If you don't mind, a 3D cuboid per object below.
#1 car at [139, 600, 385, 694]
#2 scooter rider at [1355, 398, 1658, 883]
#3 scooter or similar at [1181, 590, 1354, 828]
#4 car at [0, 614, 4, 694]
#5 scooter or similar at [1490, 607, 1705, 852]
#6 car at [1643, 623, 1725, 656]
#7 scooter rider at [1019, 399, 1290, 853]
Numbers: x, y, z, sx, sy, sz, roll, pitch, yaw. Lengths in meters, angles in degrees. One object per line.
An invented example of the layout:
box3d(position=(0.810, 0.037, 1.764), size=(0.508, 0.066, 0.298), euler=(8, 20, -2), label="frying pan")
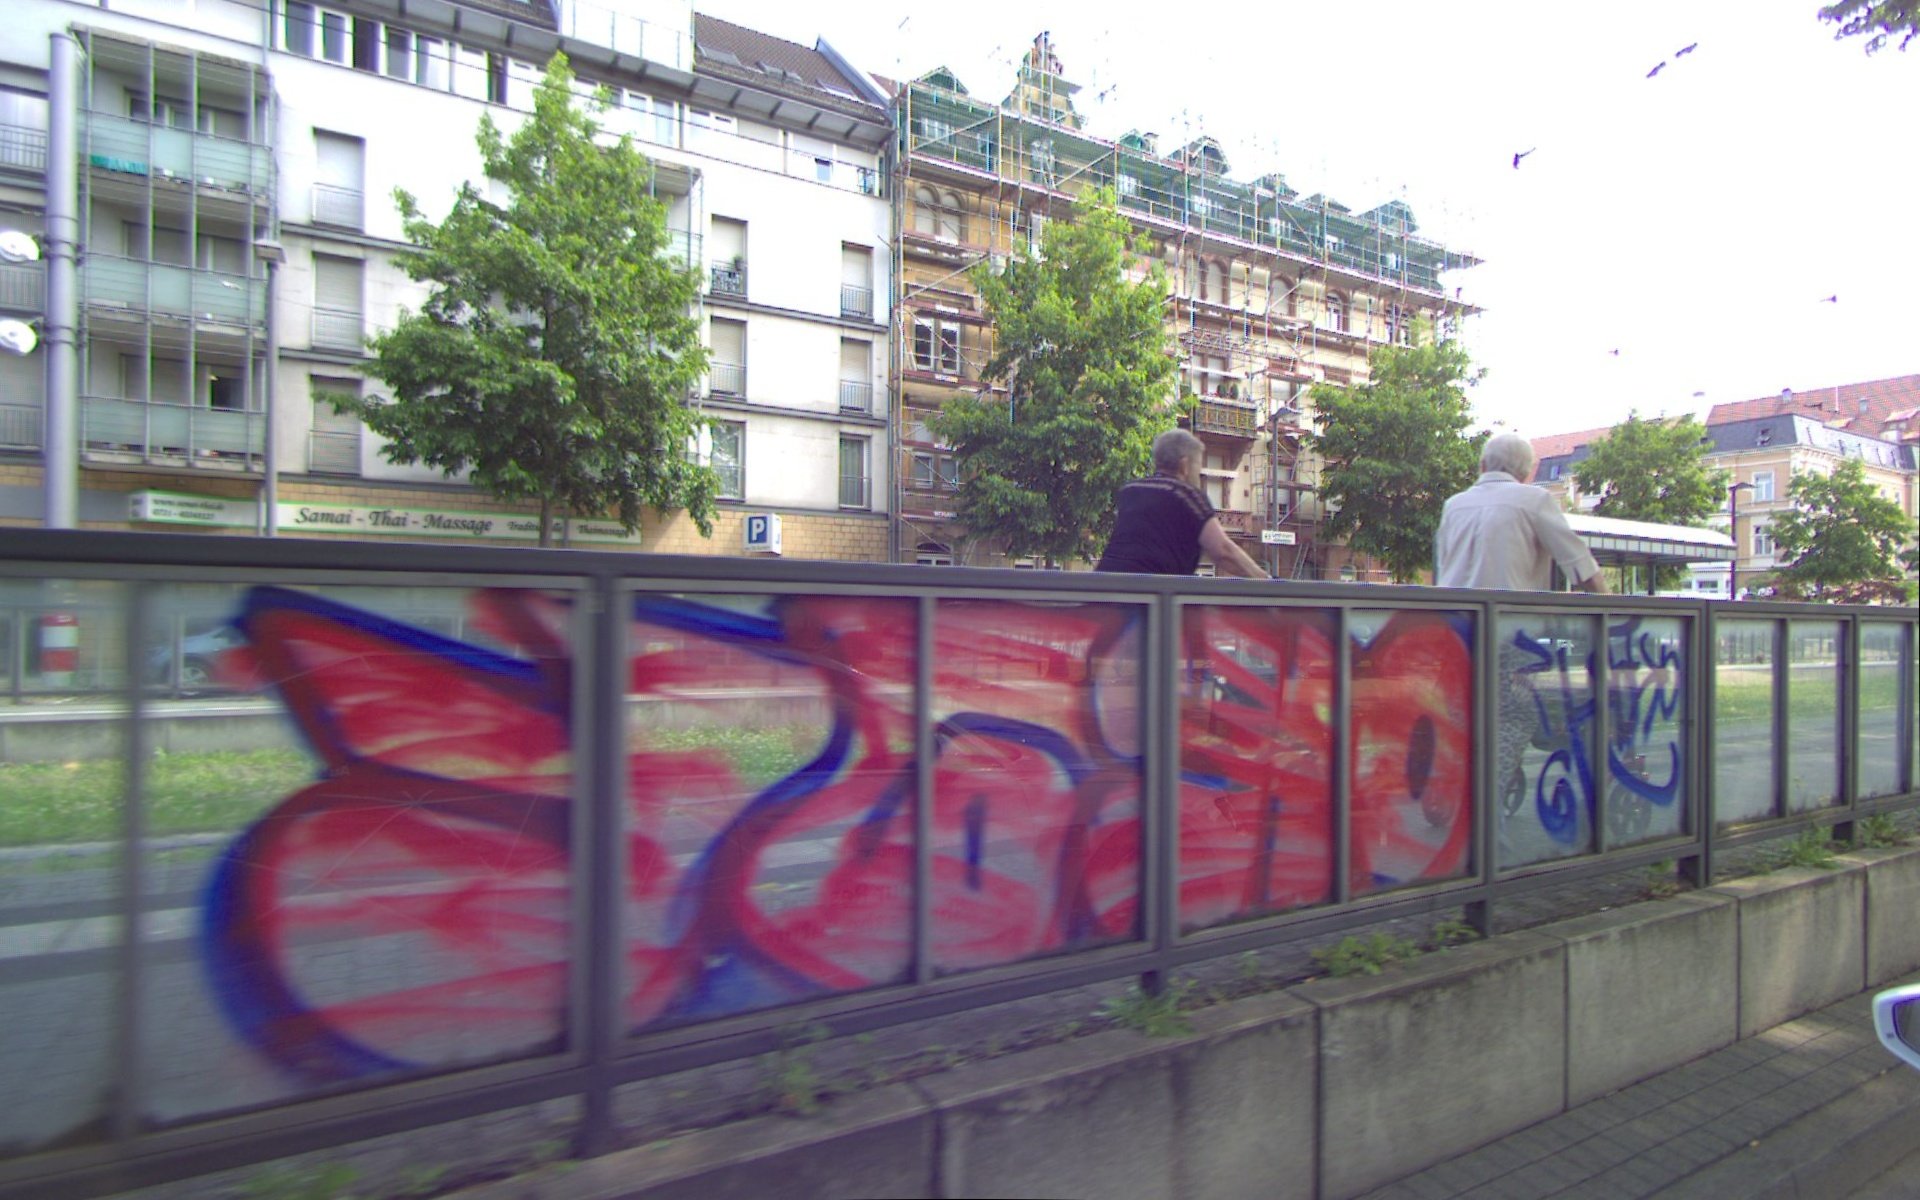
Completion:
box3d(position=(-13.010, 0.857, 19.014), size=(3.647, 1.630, 1.711), euler=(1, -1, -30), label="car")
box3d(position=(2.061, 0.142, 3.806), size=(0.890, 1.591, 0.651), euler=(1, -1, -30), label="scooter rider")
box3d(position=(1.359, 0.453, 4.480), size=(0.416, 0.968, 0.629), euler=(1, -1, -30), label="scooter or similar")
box3d(position=(-17.943, 0.904, 16.098), size=(3.436, 1.389, 1.711), euler=(1, -1, -30), label="car")
box3d(position=(2.614, 0.494, 4.149), size=(0.384, 0.919, 0.651), euler=(1, -1, -30), label="scooter or similar")
box3d(position=(32.374, 1.758, 44.897), size=(3.436, 1.389, 1.711), euler=(1, -1, -30), label="car")
box3d(position=(0.792, 0.104, 4.128), size=(0.890, 1.635, 0.651), euler=(1, -1, -30), label="scooter rider")
